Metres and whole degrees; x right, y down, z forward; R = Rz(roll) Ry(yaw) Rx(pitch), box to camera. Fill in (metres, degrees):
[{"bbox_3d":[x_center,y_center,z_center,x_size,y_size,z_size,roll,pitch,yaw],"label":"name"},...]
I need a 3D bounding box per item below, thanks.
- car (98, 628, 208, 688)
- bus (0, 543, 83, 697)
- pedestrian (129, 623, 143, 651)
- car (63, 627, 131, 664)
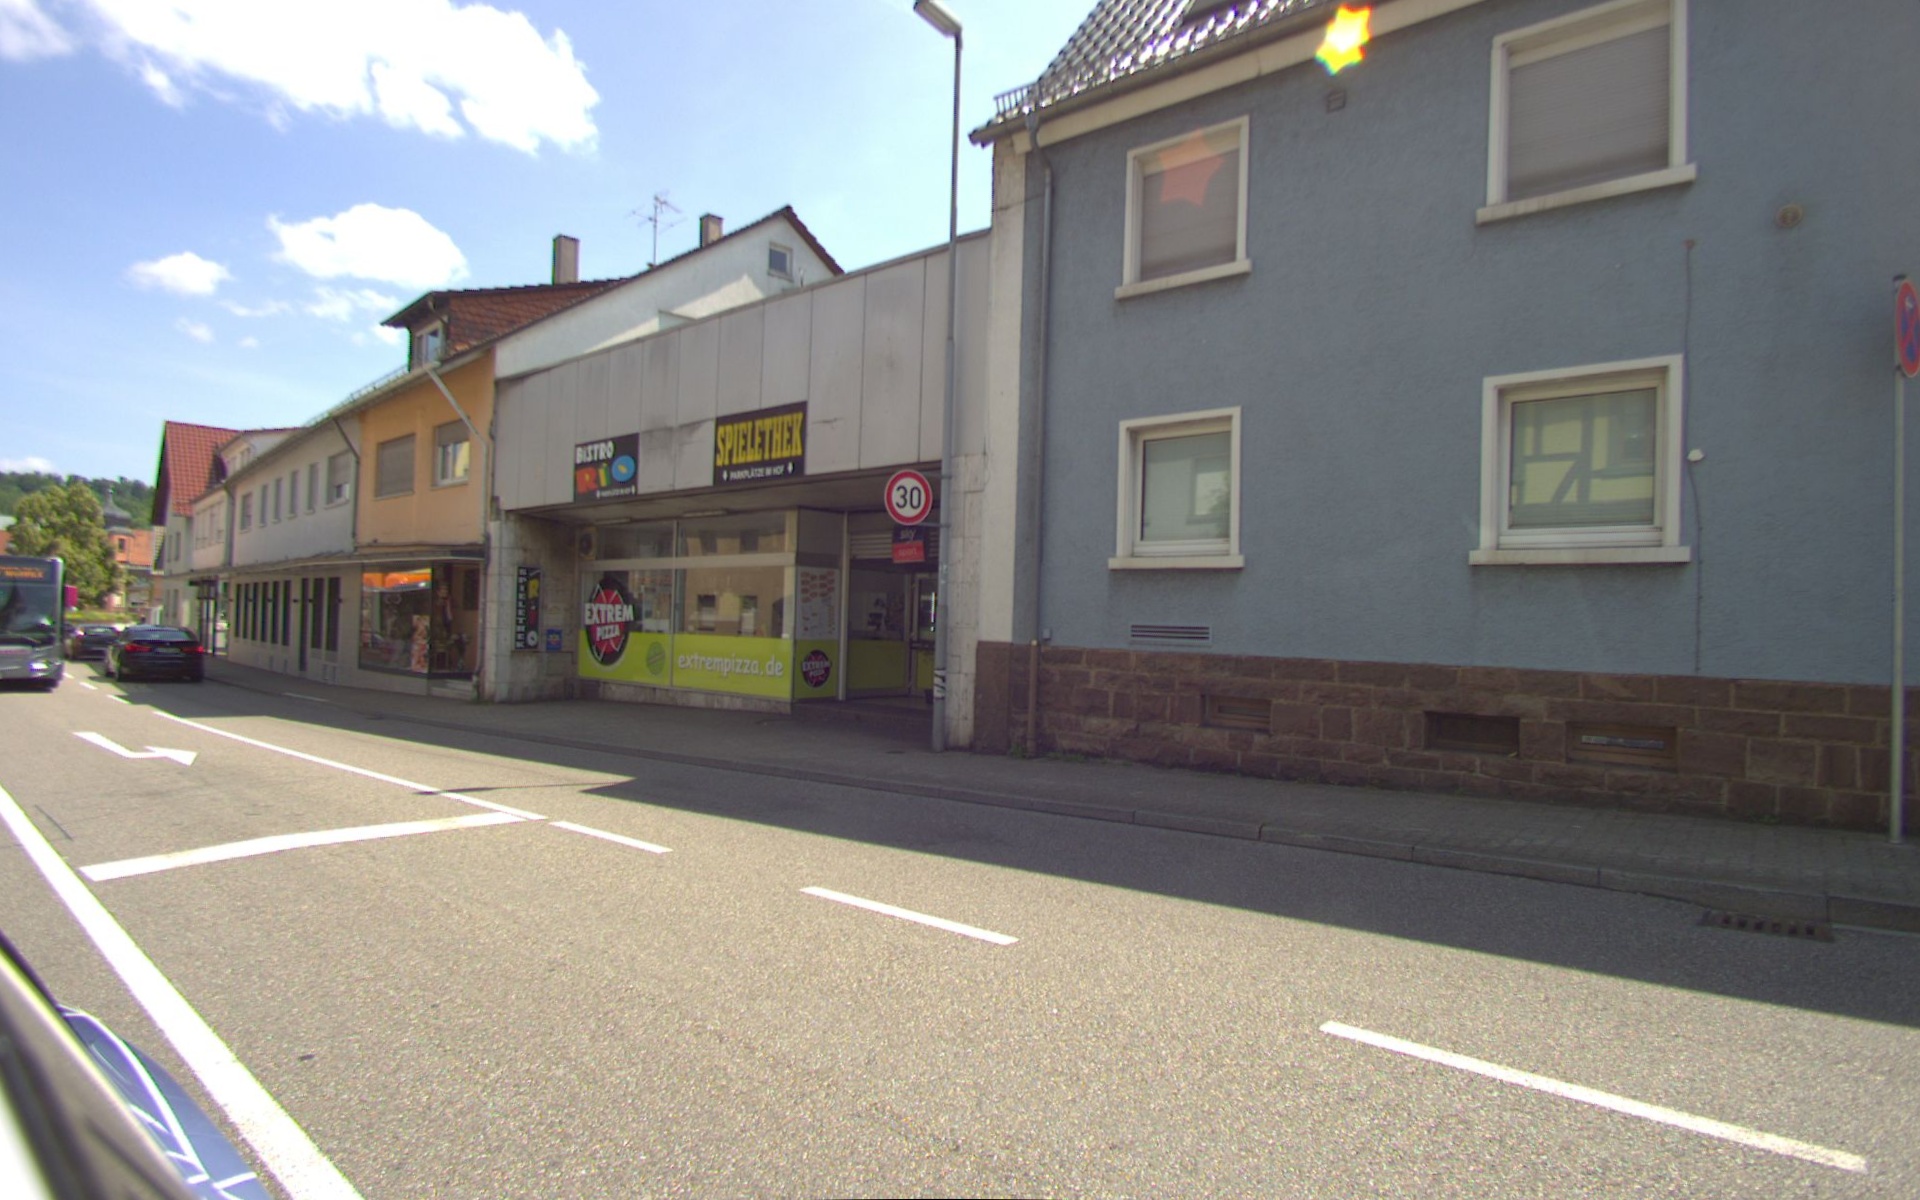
[{"bbox_3d":[-22.936,1.606,28.680,4.799,1.498,1.776,-1,-5,44],"label":"car"},{"bbox_3d":[-26.432,0.647,28.288,2.816,3.229,19.059,1,-2,-41],"label":"bus"},{"bbox_3d":[-51.442,2.307,63.180,0.476,1.777,0.467,1,-2,23],"label":"pedestrian"},{"bbox_3d":[-35.778,1.906,41.923,3.820,1.434,1.698,-3,-5,43],"label":"car"}]
